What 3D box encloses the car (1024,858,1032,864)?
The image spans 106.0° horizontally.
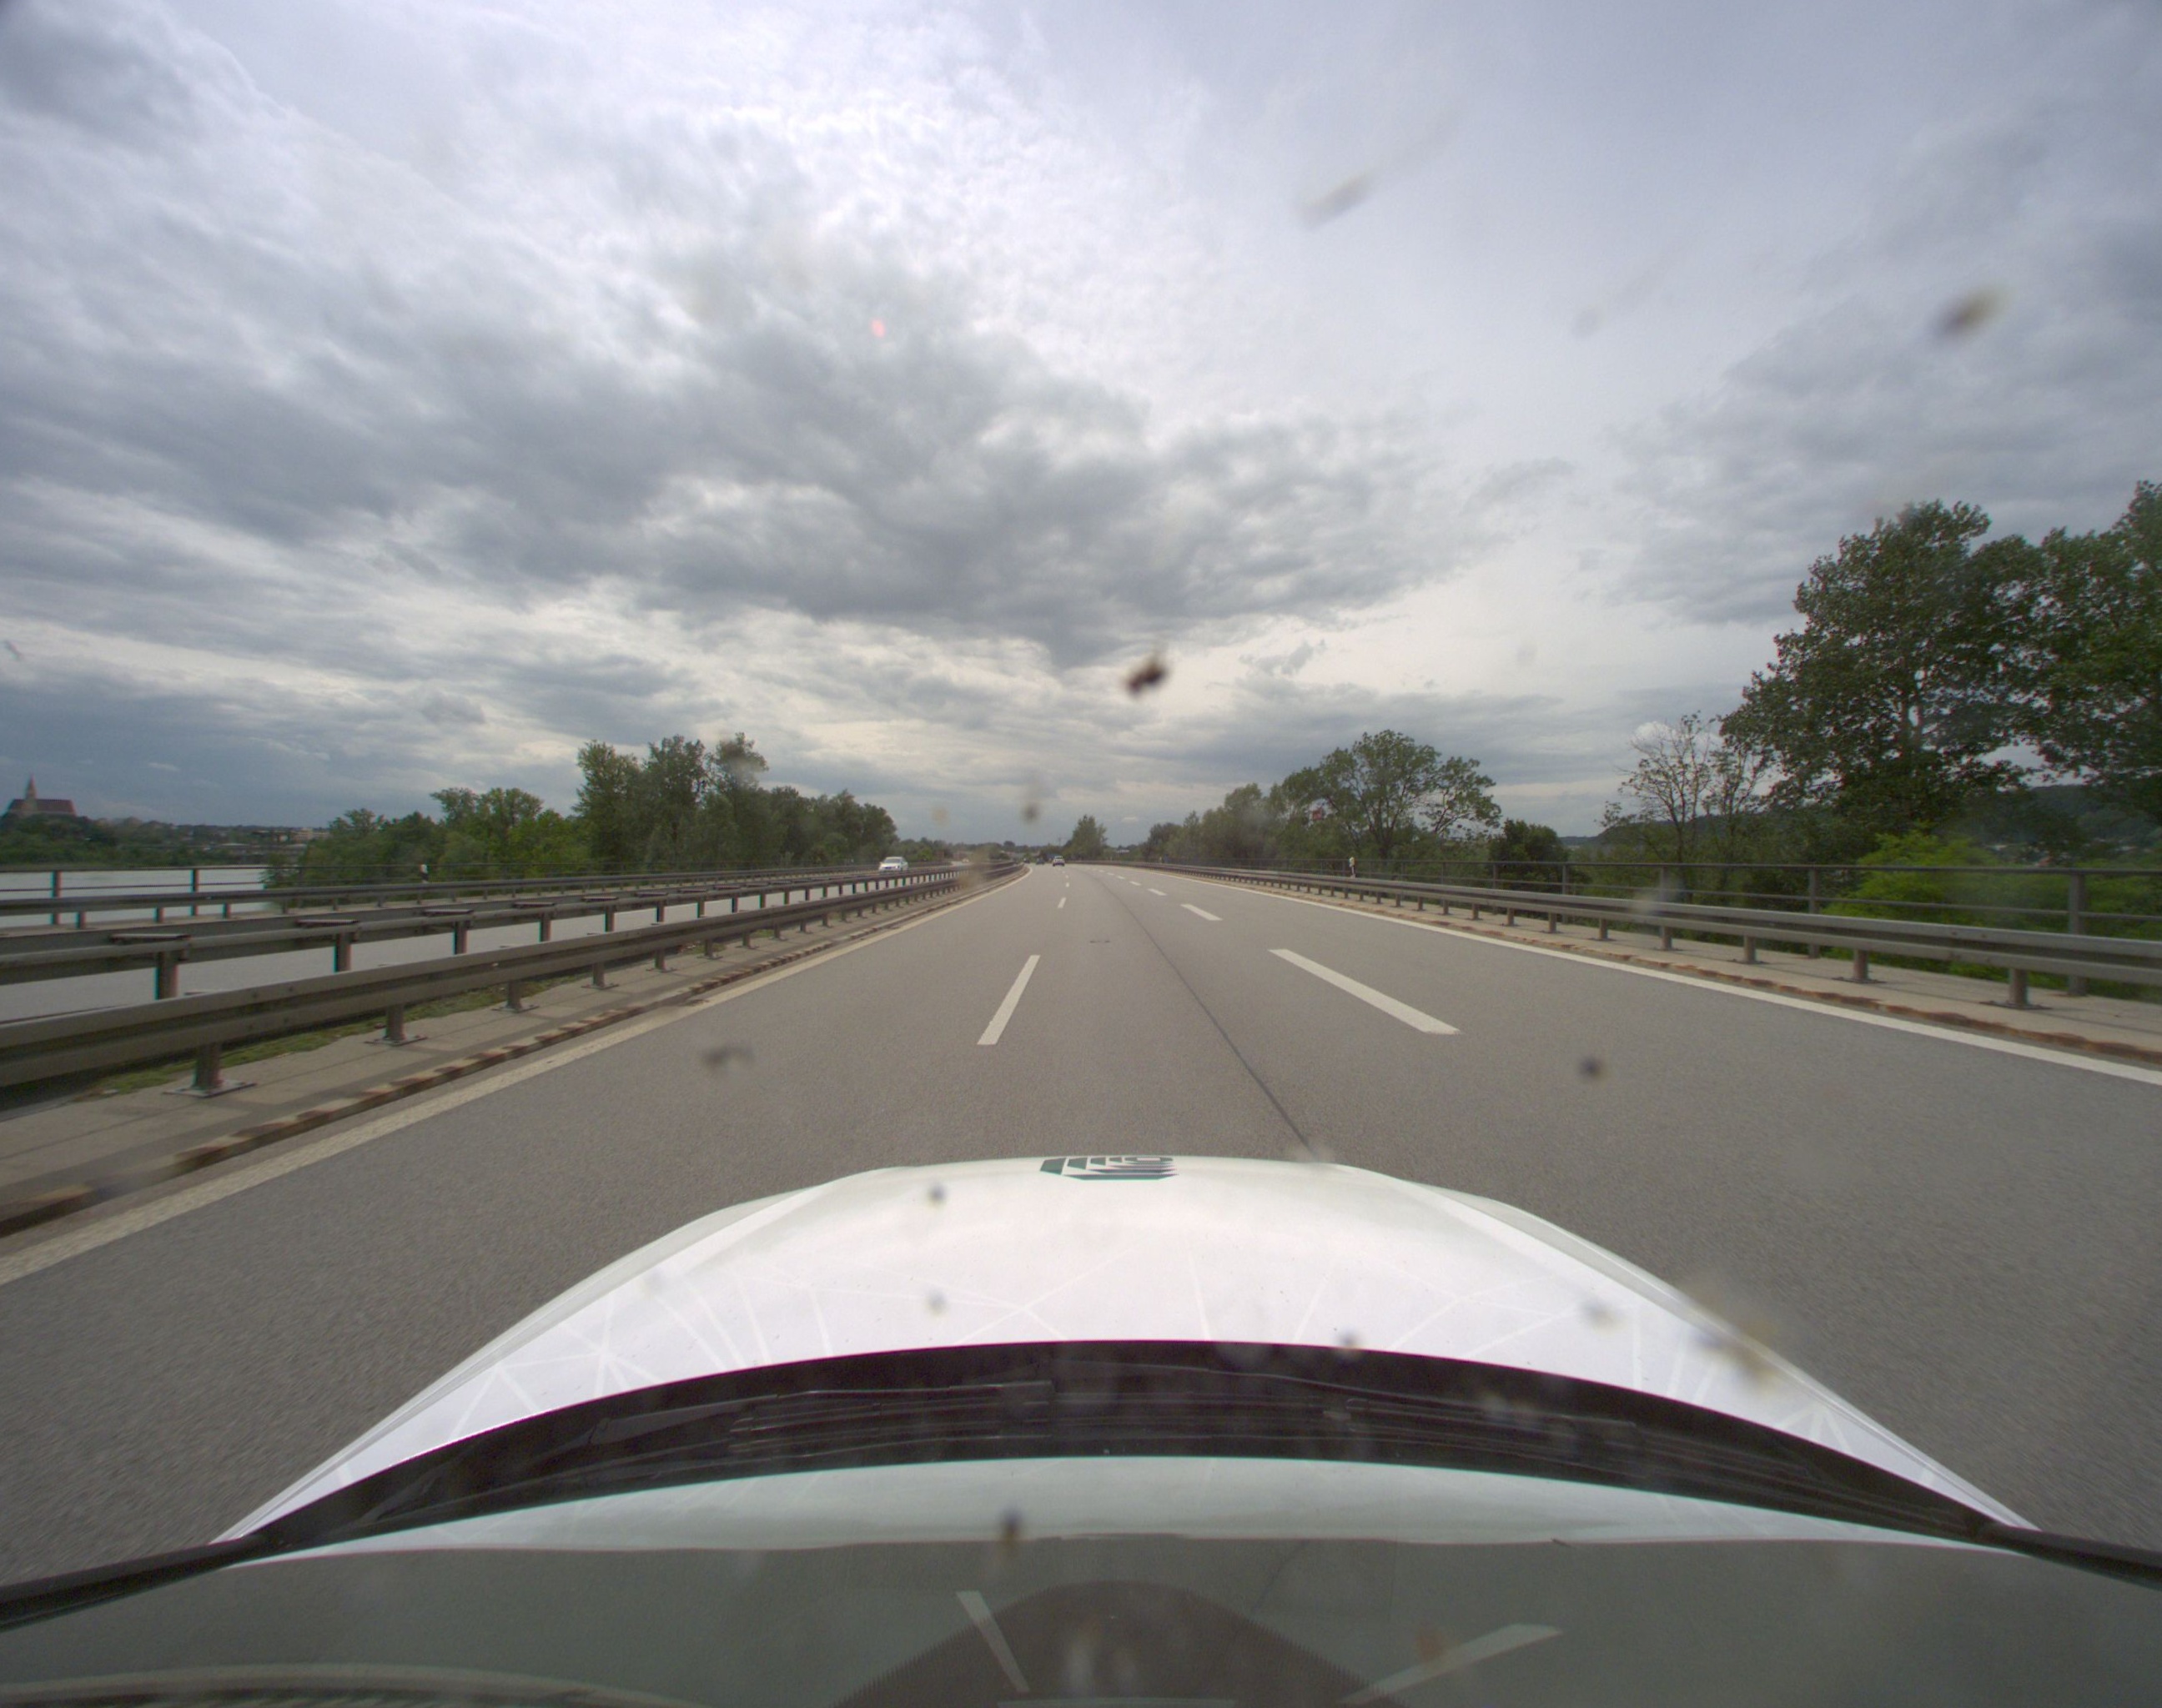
[{"bbox_3d":[-14.908,1.924,227.767,1.901,1.640,4.765,0,-1,-8],"label":"car"}]

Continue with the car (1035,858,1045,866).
[{"bbox_3d":[-9.401,1.847,185.677,1.890,1.640,4.611,0,0,-7],"label":"car"}]

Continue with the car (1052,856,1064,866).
[{"bbox_3d":[-3.890,1.232,138.260,1.899,1.640,4.388,0,0,-5],"label":"car"}]

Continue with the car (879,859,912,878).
[{"bbox_3d":[-14.123,1.097,62.224,1.526,1.407,4.327,0,0,-1],"label":"car"}]
